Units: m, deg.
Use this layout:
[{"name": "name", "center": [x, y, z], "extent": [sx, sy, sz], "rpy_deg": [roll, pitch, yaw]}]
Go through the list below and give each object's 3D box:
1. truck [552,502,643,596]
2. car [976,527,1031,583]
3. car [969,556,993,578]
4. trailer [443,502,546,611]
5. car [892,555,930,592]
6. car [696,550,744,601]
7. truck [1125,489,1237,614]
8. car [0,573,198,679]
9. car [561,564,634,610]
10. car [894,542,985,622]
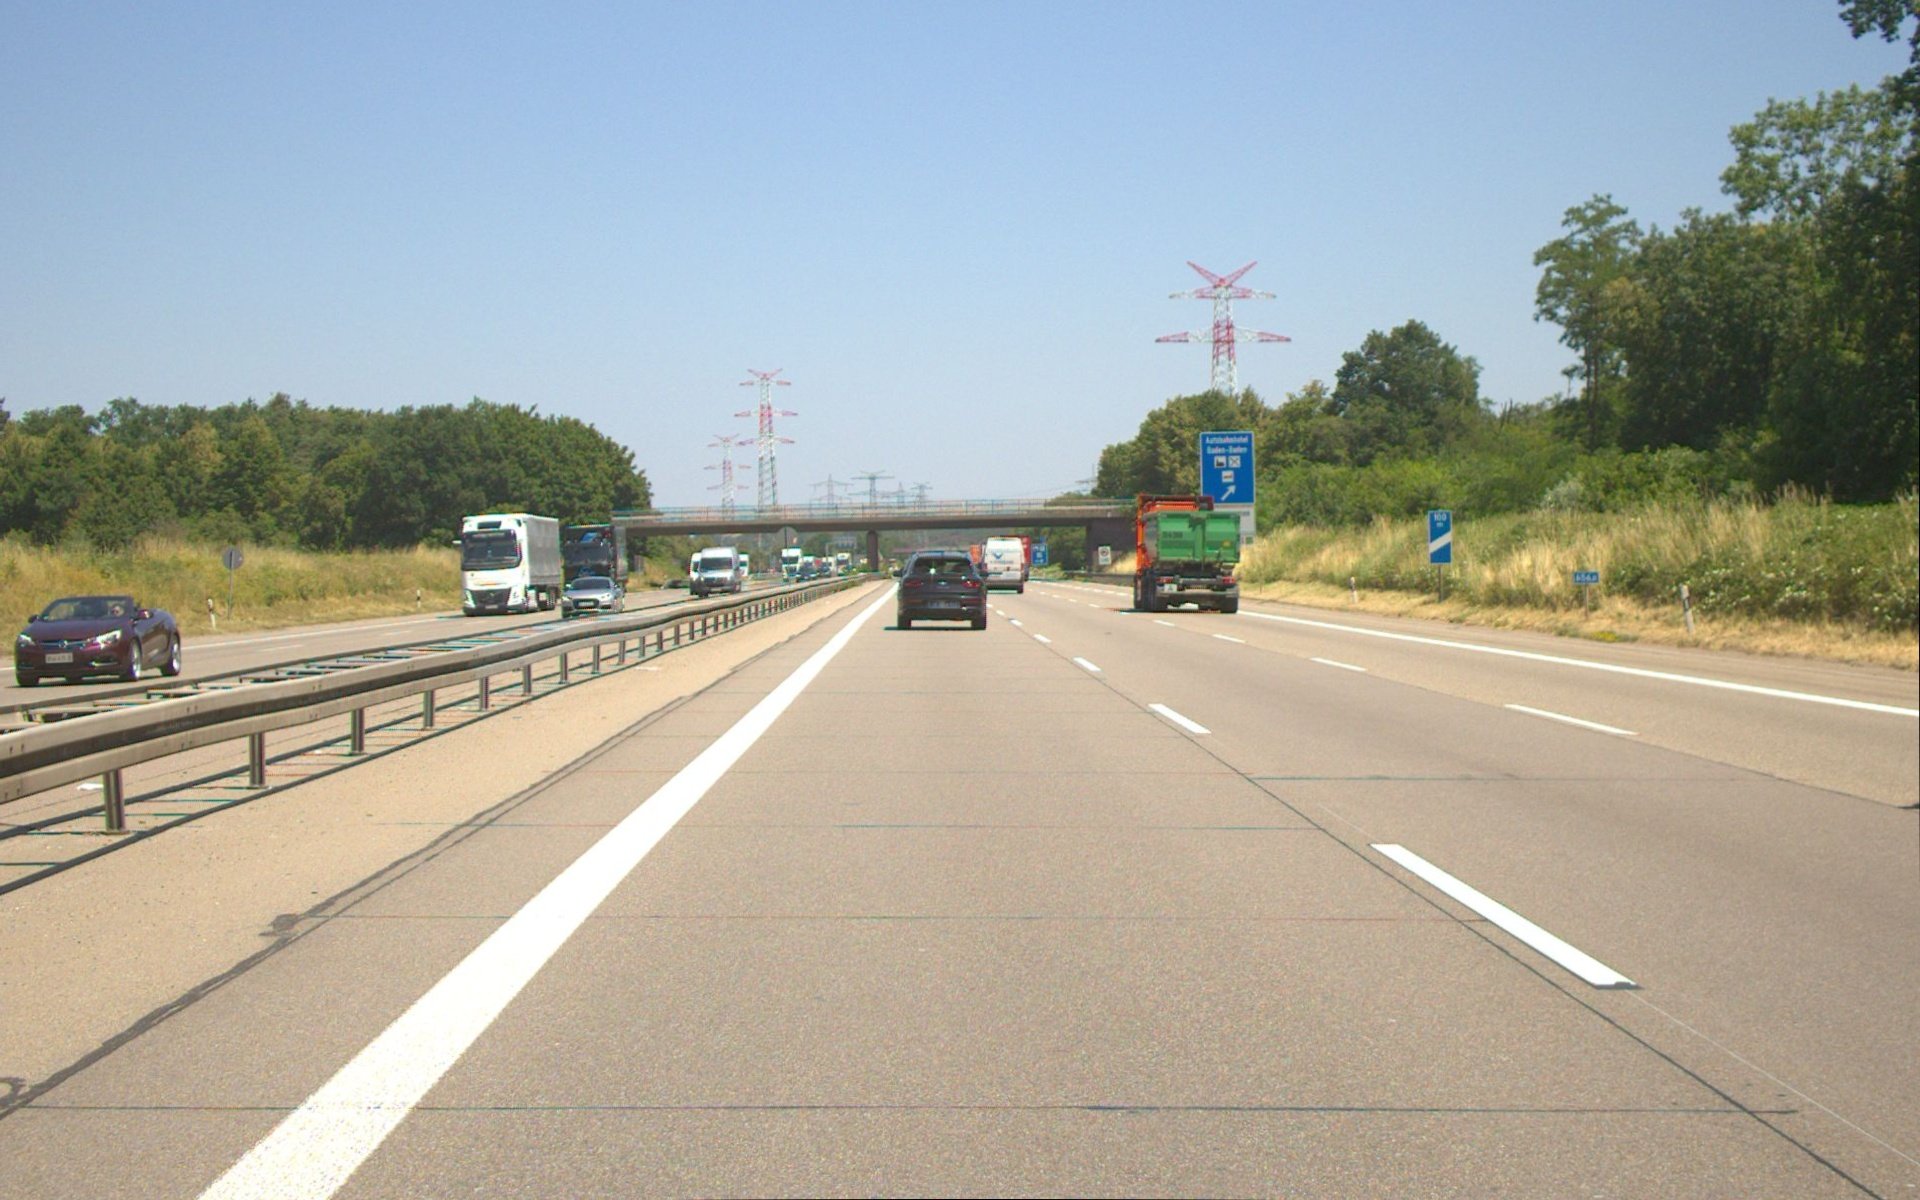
[{"name": "truck", "center": [-19.027, -2.665, 181.339], "extent": [3.377, 4.609, 12.187], "rpy_deg": [-3, 1, 0]}, {"name": "car", "center": [2.171, -2.270, 173.373], "extent": [2.621, 2.750, 6.096], "rpy_deg": [1, 1, 0]}, {"name": "car", "center": [1.553, -2.483, 258.783], "extent": [1.747, 1.628, 4.004], "rpy_deg": [1, 1, 0]}, {"name": "trailer", "center": [-18.792, -1.767, 139.270], "extent": [3.155, 4.184, 6.326], "rpy_deg": [-3, 1, 0]}, {"name": "car", "center": [-2.391, -1.297, 167.025], "extent": [1.794, 1.744, 4.000], "rpy_deg": [1, 1, -1]}, {"name": "car", "center": [-12.586, -1.303, 180.472], "extent": [1.993, 2.561, 6.390], "rpy_deg": [-3, 1, 0]}, {"name": "truck", "center": [7.056, -1.552, 111.181], "extent": [2.681, 3.785, 12.479], "rpy_deg": [1, 1, 0]}, {"name": "car", "center": [-13.837, 0.376, 55.433], "extent": [1.962, 1.520, 5.291], "rpy_deg": [-2, 1, -1]}, {"name": "car", "center": [-12.209, -0.462, 116.144], "extent": [1.962, 1.424, 5.291], "rpy_deg": [-2, 1, -1]}, {"name": "car", "center": [-0.475, -0.423, 77.668], "extent": [1.993, 1.744, 4.000], "rpy_deg": [1, 1, -1]}]
